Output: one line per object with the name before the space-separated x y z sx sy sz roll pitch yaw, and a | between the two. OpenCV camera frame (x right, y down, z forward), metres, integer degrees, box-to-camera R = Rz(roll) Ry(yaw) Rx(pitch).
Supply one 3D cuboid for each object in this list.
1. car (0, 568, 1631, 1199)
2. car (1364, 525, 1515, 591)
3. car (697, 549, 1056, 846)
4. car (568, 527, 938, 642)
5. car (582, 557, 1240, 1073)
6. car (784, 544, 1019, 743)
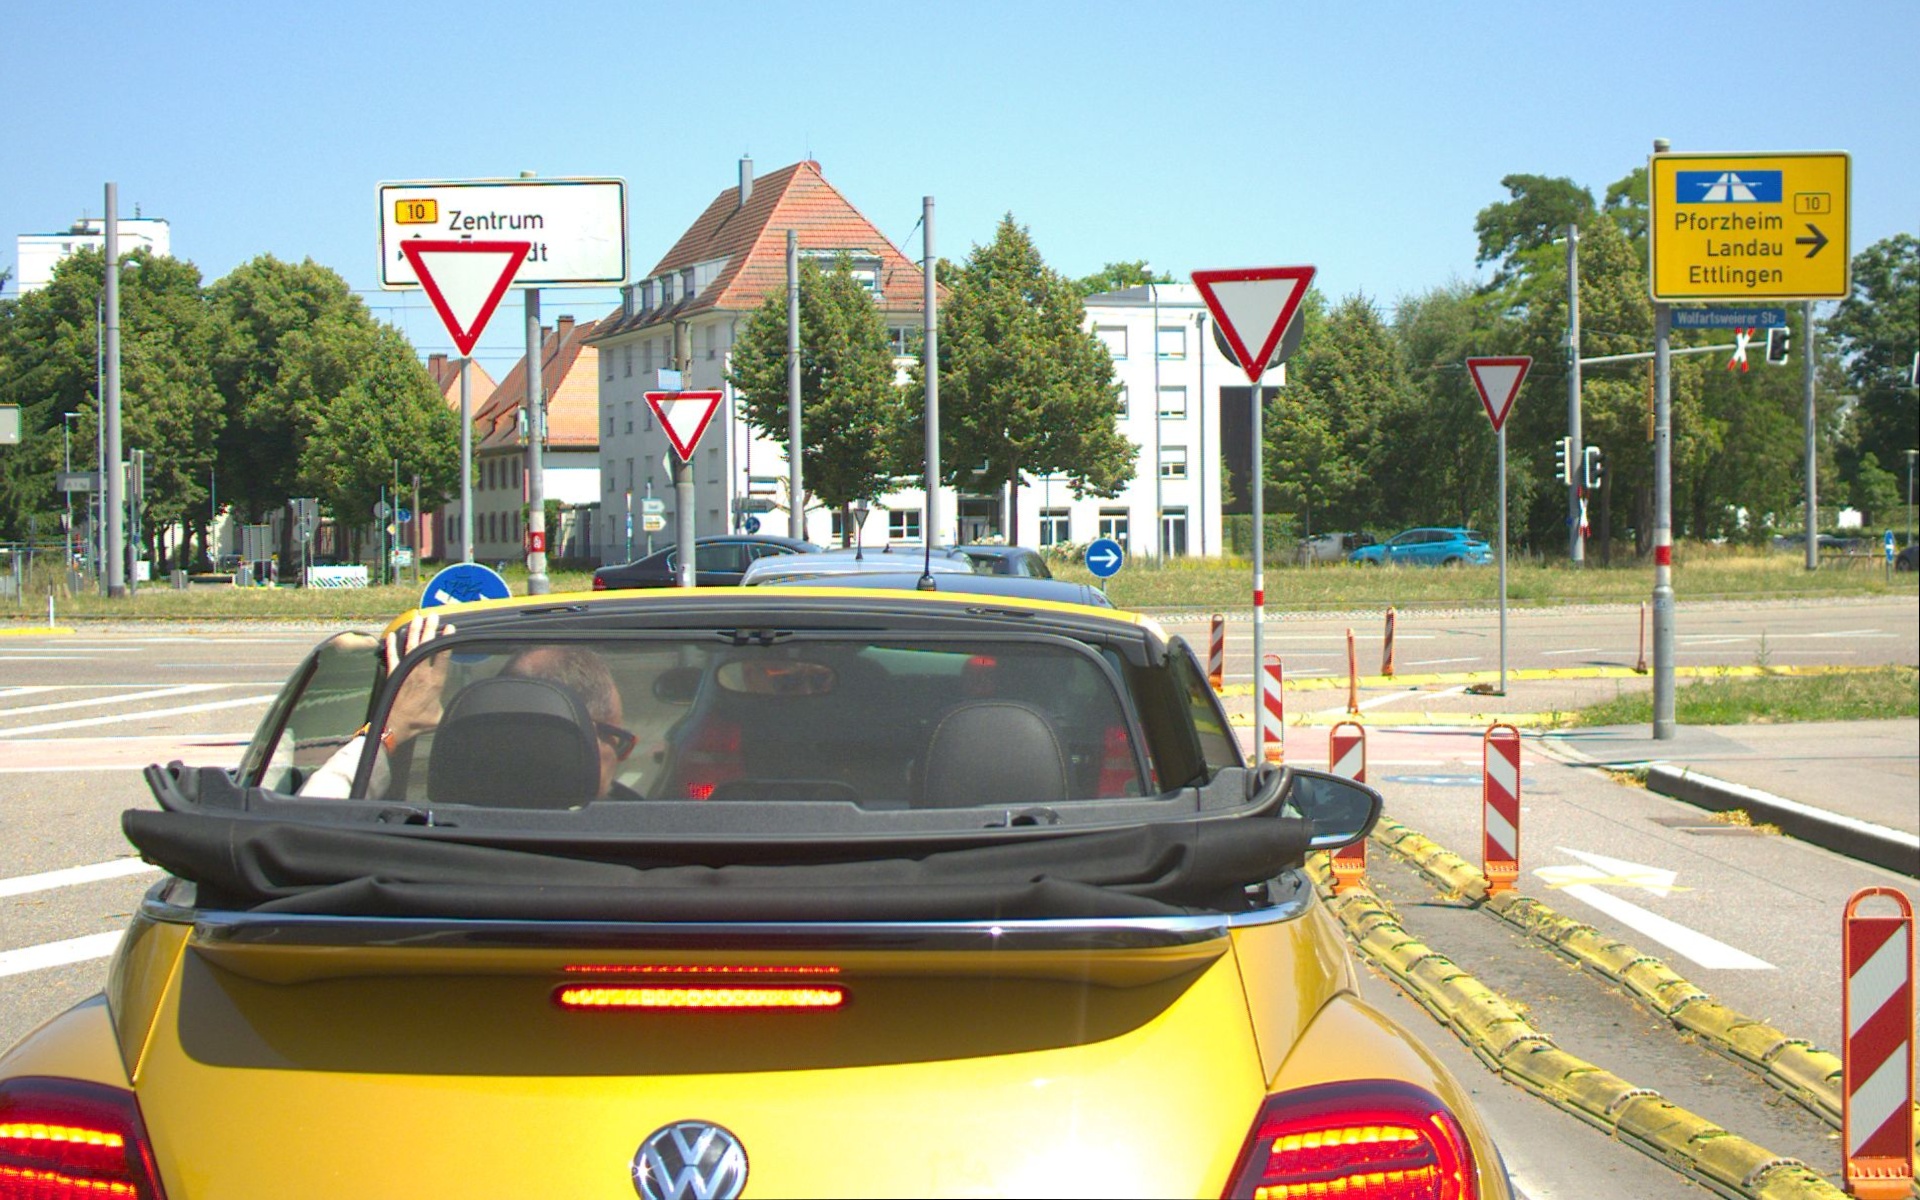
car | -0.320 0.676 4.889 1.752 1.417 3.778 0 1 -1
car | 13.598 -1.193 97.442 3.990 1.831 1.998 0 1 17
car | -0.424 0.443 18.688 1.736 1.437 4.000 0 1 -1
car | -2.649 -0.213 44.500 4.519 1.442 1.822 0 1 8
car | -0.157 0.582 11.675 1.848 1.437 4.000 0 1 -1
car | -0.452 0.294 27.489 1.736 1.472 4.000 0 1 -1
